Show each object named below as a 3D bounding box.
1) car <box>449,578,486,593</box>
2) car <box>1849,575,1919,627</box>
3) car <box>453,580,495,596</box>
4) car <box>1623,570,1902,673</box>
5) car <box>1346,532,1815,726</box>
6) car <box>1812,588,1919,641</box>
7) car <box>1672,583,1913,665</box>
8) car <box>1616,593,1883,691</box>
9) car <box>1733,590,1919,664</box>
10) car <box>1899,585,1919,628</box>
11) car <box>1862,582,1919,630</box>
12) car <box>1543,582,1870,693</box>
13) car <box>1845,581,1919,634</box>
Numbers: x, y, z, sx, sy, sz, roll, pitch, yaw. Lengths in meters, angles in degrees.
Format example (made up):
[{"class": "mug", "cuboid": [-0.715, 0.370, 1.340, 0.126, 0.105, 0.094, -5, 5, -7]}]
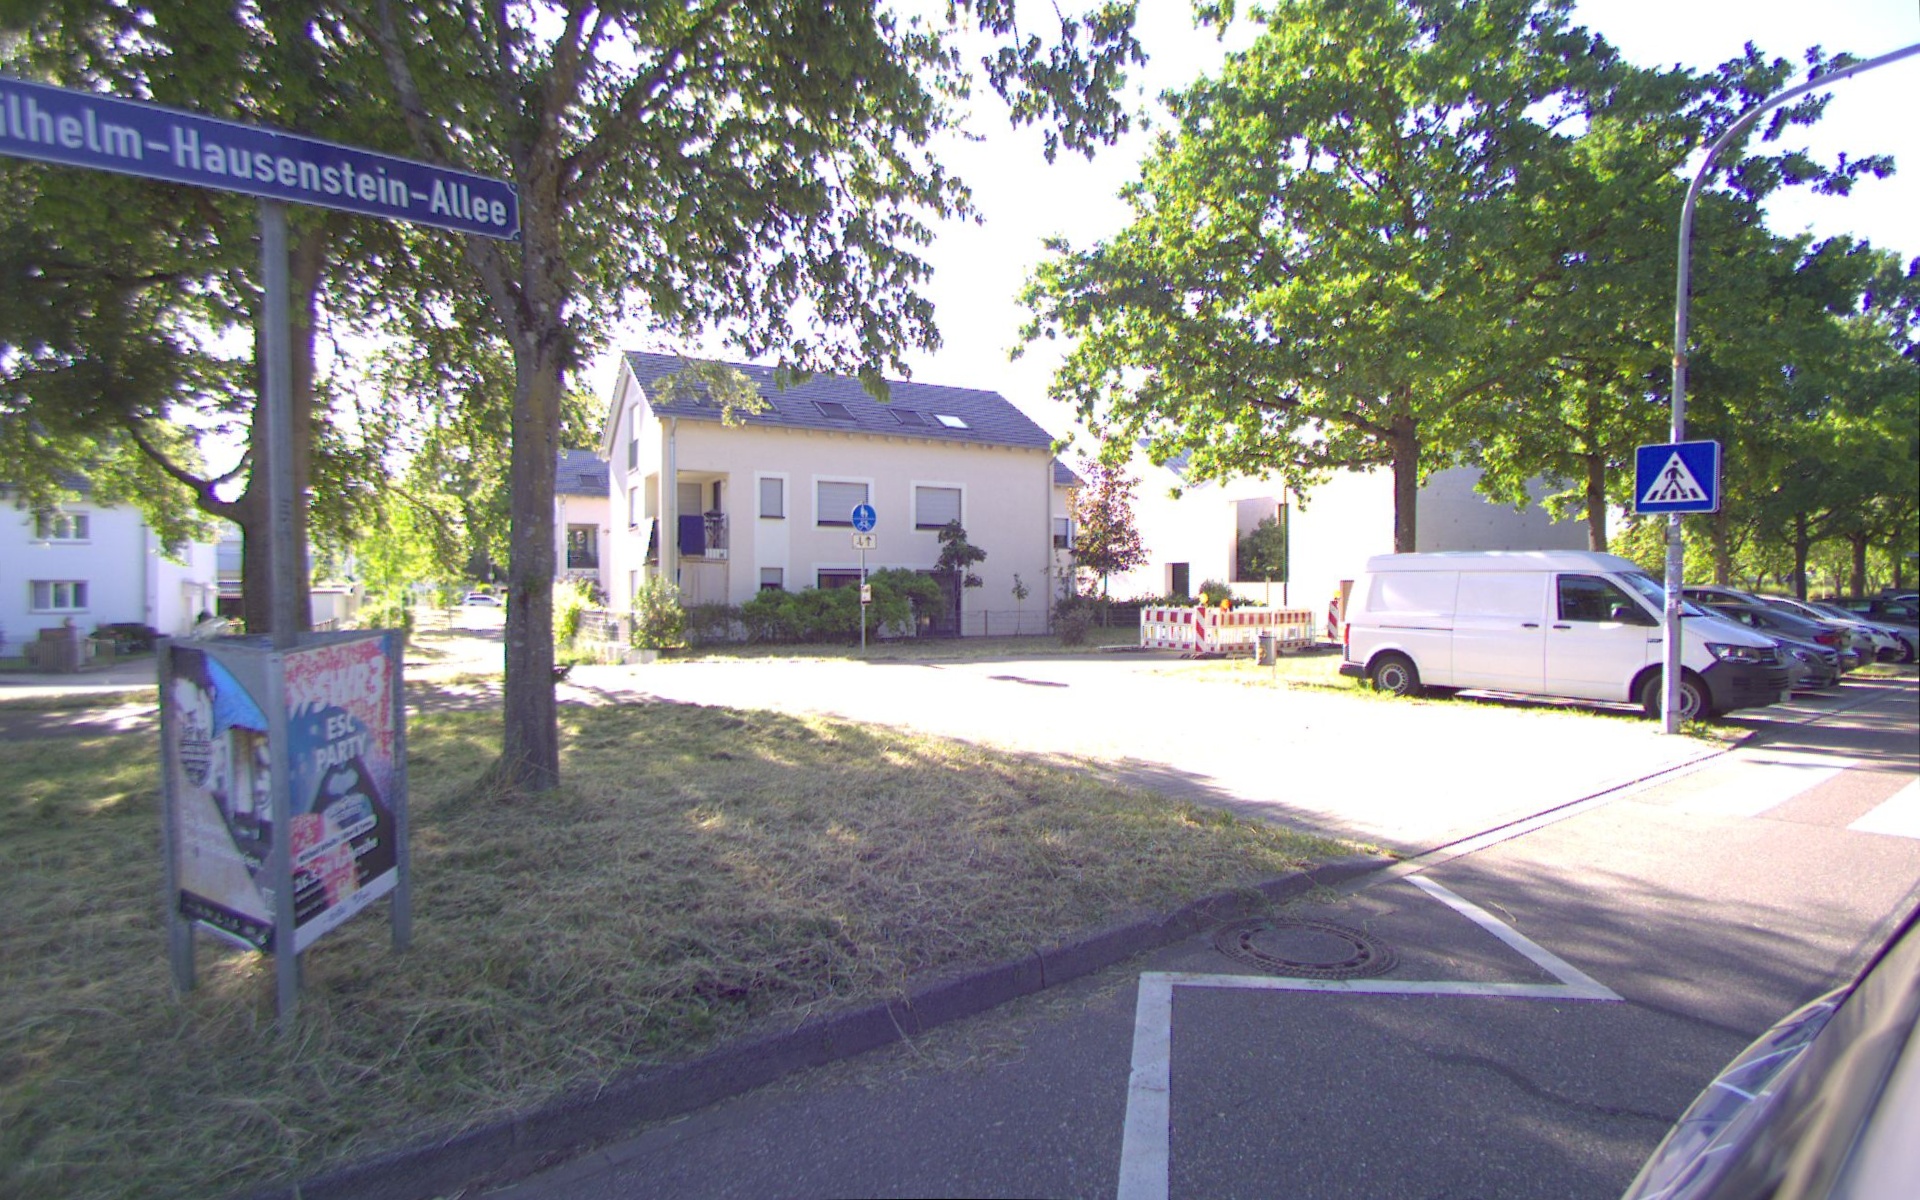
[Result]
[{"class": "car", "cuboid": [-68.345, -1.954, 140.454, 4.524, 2.039, 2.003, 0, 0, -24]}, {"class": "car", "cuboid": [37.902, 0.050, 39.637, 1.504, 2.013, 4.396, 0, 0, -37]}, {"class": "car", "cuboid": [-62.468, -1.487, 130.201, 4.543, 2.039, 1.995, 0, 0, -43]}, {"class": "car", "cuboid": [15.698, 0.389, 19.987, 1.681, 1.816, 4.020, 0, 0, -37]}, {"class": "car", "cuboid": [8.008, 0.272, 13.571, 1.857, 2.107, 5.044, 0, 1, -39]}, {"class": "car", "cuboid": [30.418, 0.449, 32.556, 1.504, 1.662, 4.396, 0, 0, -37]}, {"class": "car", "cuboid": [18.931, 0.501, 23.173, 1.504, 1.700, 4.020, 0, 0, -37]}, {"class": "car", "cuboid": [13.993, 0.681, 18.105, 1.421, 1.561, 3.517, 0, 0, -37]}, {"class": "car", "cuboid": [21.511, 0.621, 24.649, 1.504, 1.681, 4.020, 0, 0, -37]}, {"class": "car", "cuboid": [41.440, 0.254, 41.277, 1.504, 1.765, 4.396, 0, 0, -37]}, {"class": "car", "cuboid": [36.039, 0.212, 36.990, 1.504, 1.765, 4.396, 0, 0, -37]}, {"class": "car", "cuboid": [12.095, 0.540, 16.634, 1.725, 1.583, 3.997, 0, 0, -37]}, {"class": "car", "cuboid": [32.939, 0.247, 34.171, 1.504, 1.765, 4.396, 0, 0, -37]}]
